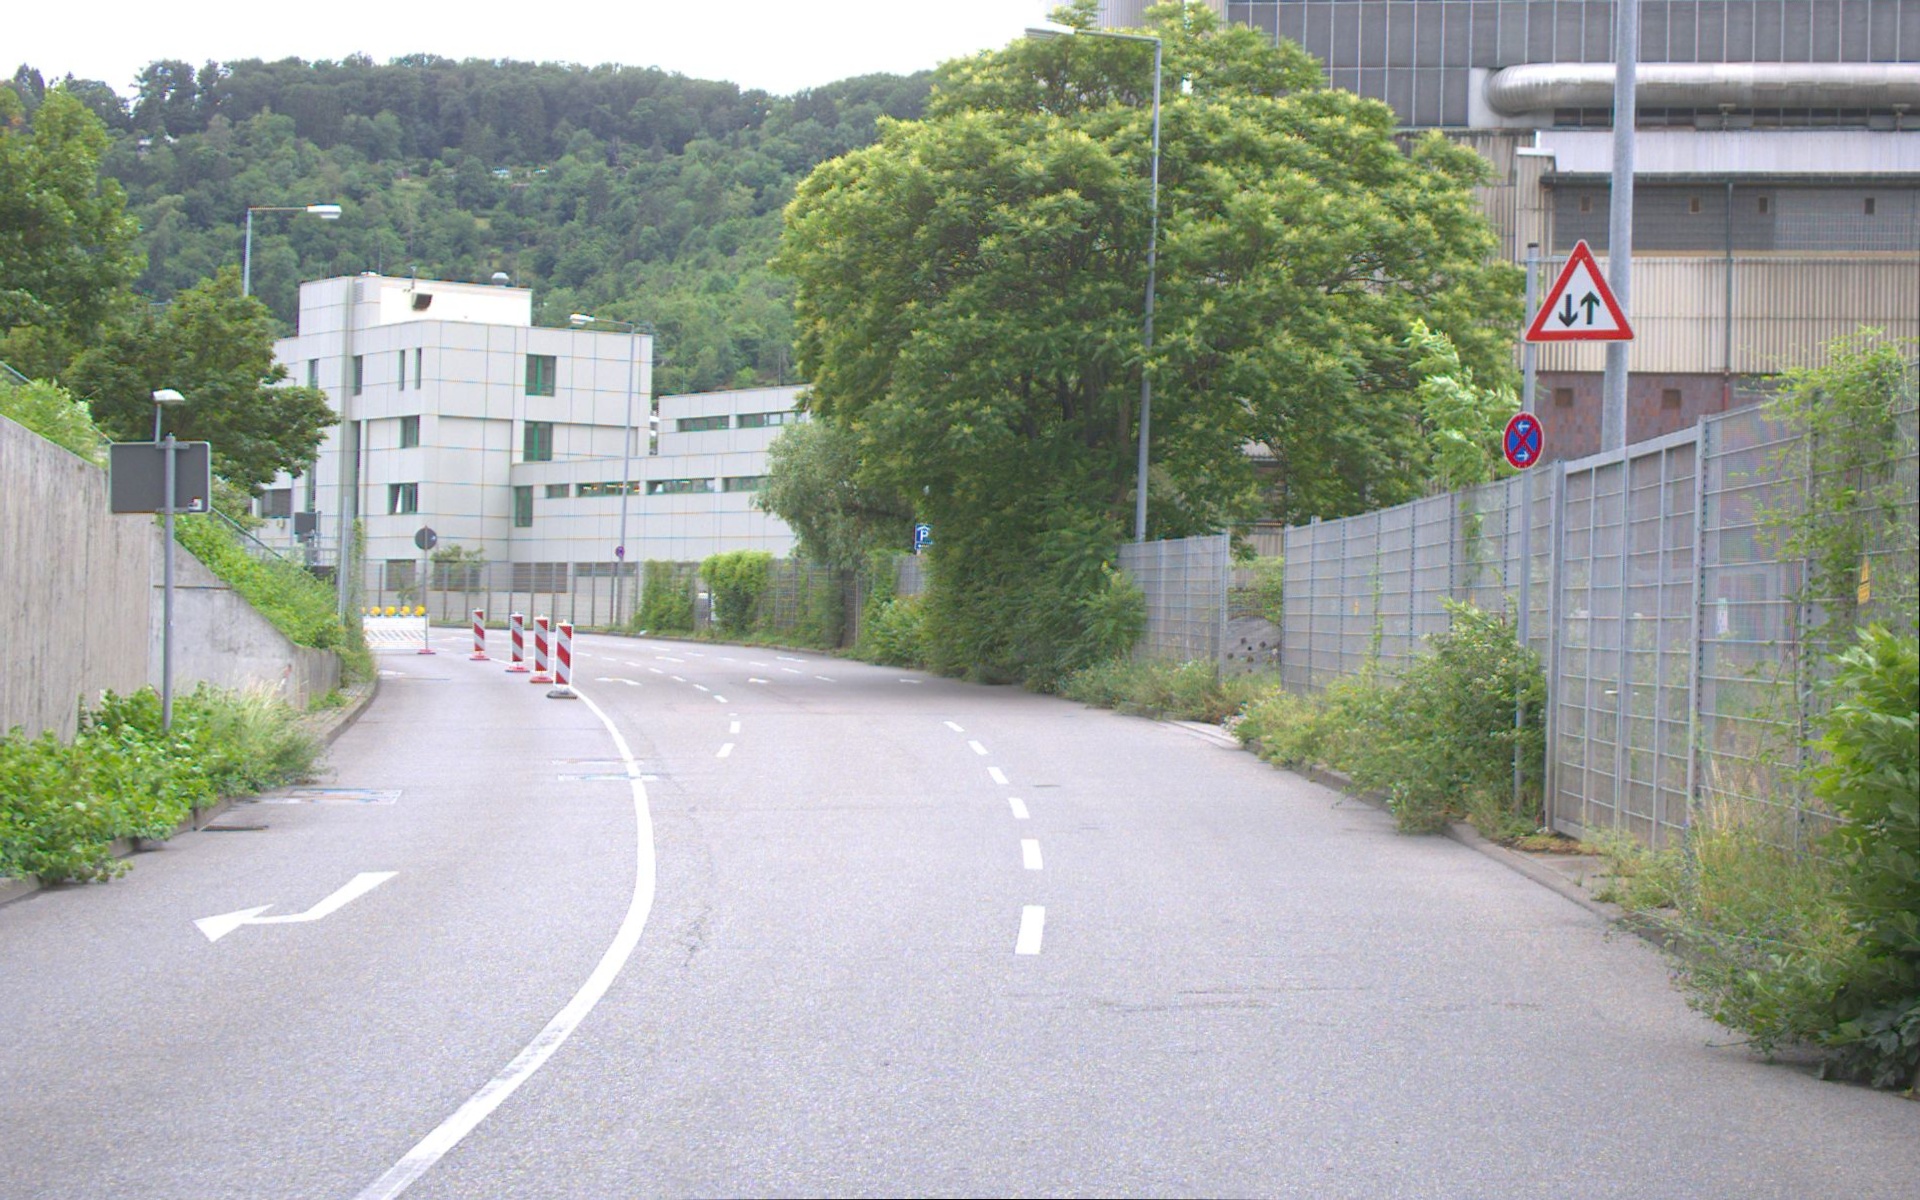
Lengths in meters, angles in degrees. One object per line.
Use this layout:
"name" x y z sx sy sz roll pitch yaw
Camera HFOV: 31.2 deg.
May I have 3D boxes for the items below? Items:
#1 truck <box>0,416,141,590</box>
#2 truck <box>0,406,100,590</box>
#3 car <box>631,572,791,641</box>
"truck" -21.992 -2.151 73.950 7.841 3.526 3.052 3 -3 -35
"truck" -21.655 -2.153 69.090 7.840 3.526 3.052 2 -3 -32
"car" -9.497 0.234 130.704 6.163 2.255 1.995 3 0 37
